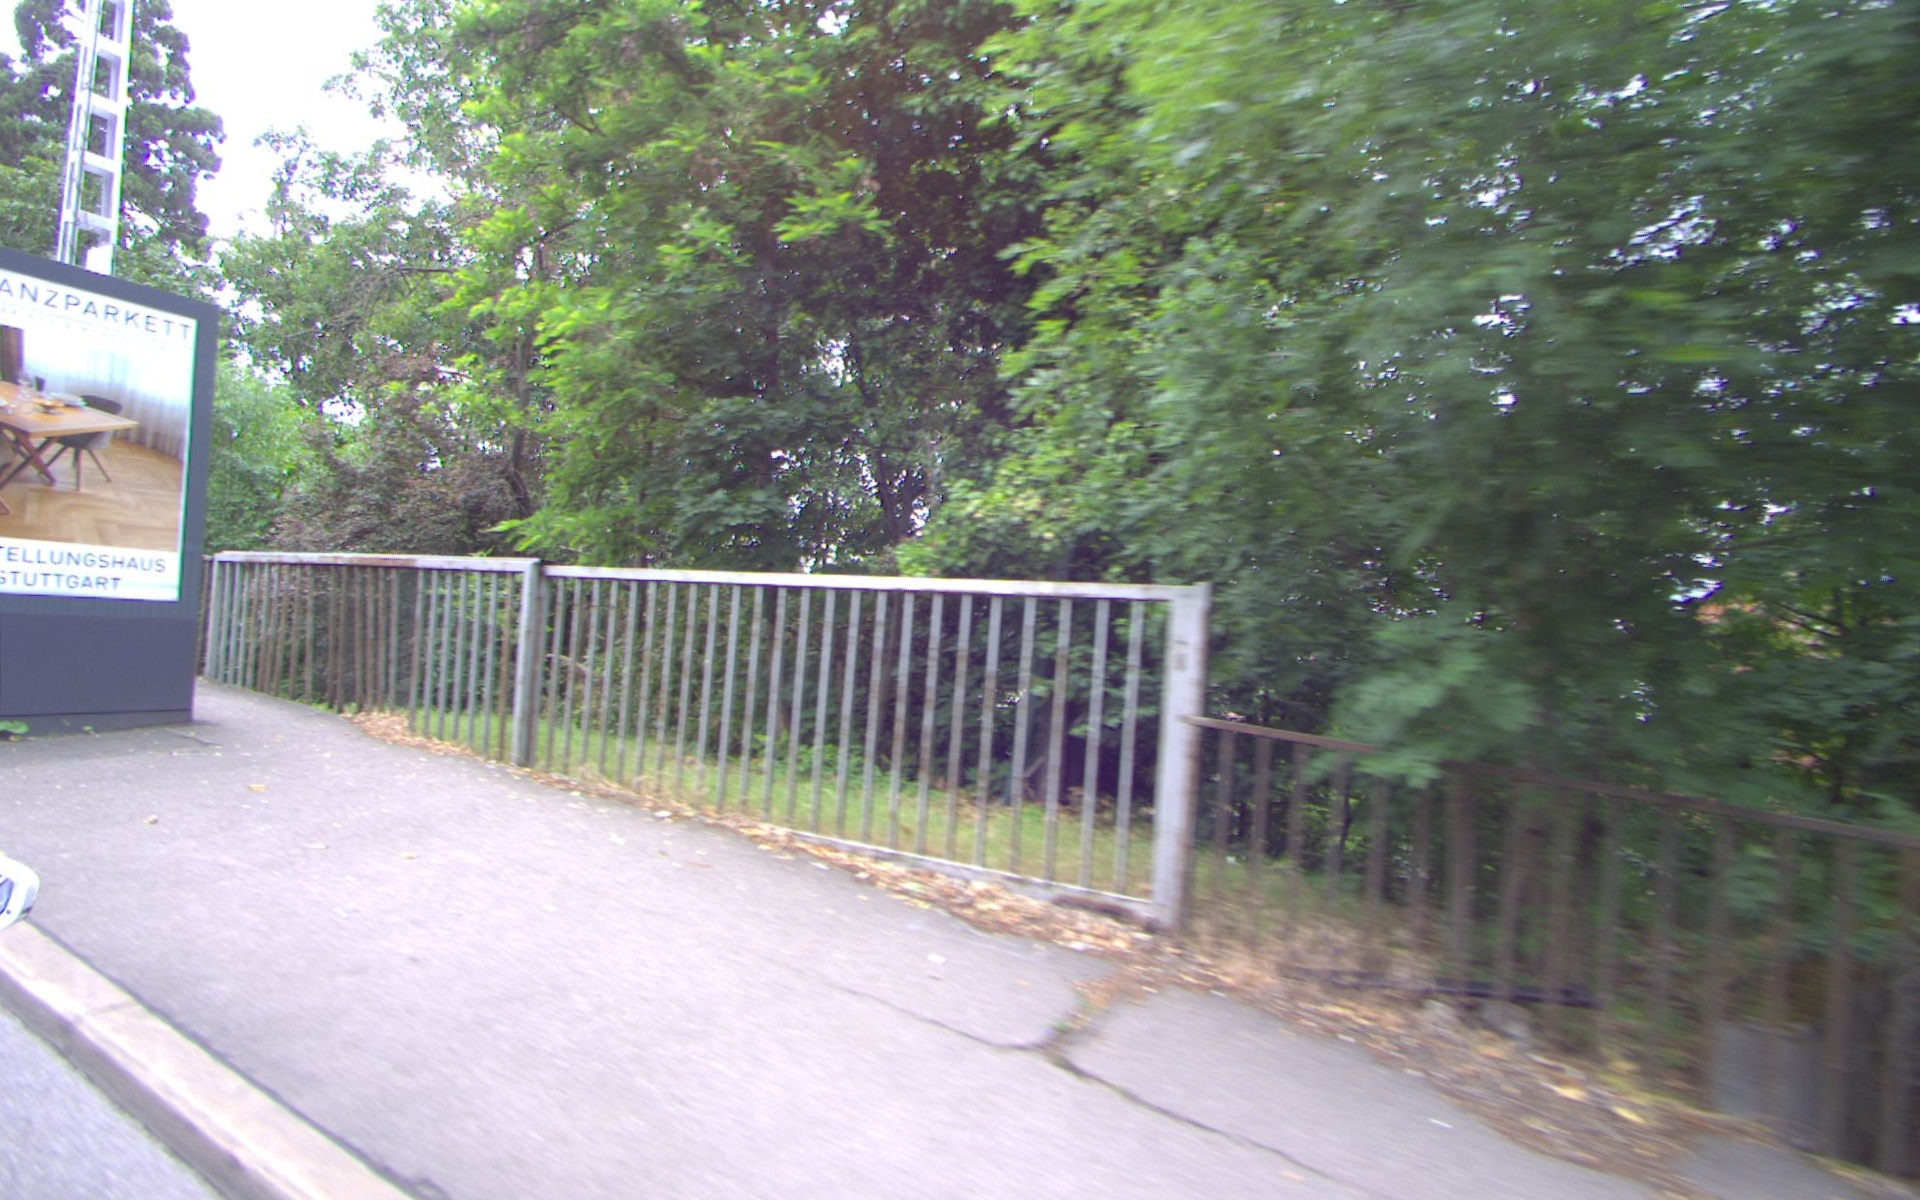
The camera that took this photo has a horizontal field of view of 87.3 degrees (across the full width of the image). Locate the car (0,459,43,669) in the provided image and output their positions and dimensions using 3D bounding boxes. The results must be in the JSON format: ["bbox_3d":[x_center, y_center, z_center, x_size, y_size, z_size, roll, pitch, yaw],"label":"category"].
[{"bbox_3d":[-9.213,-0.461,7.946,4.320,1.544,1.764,7,5,31],"label":"car"}]
